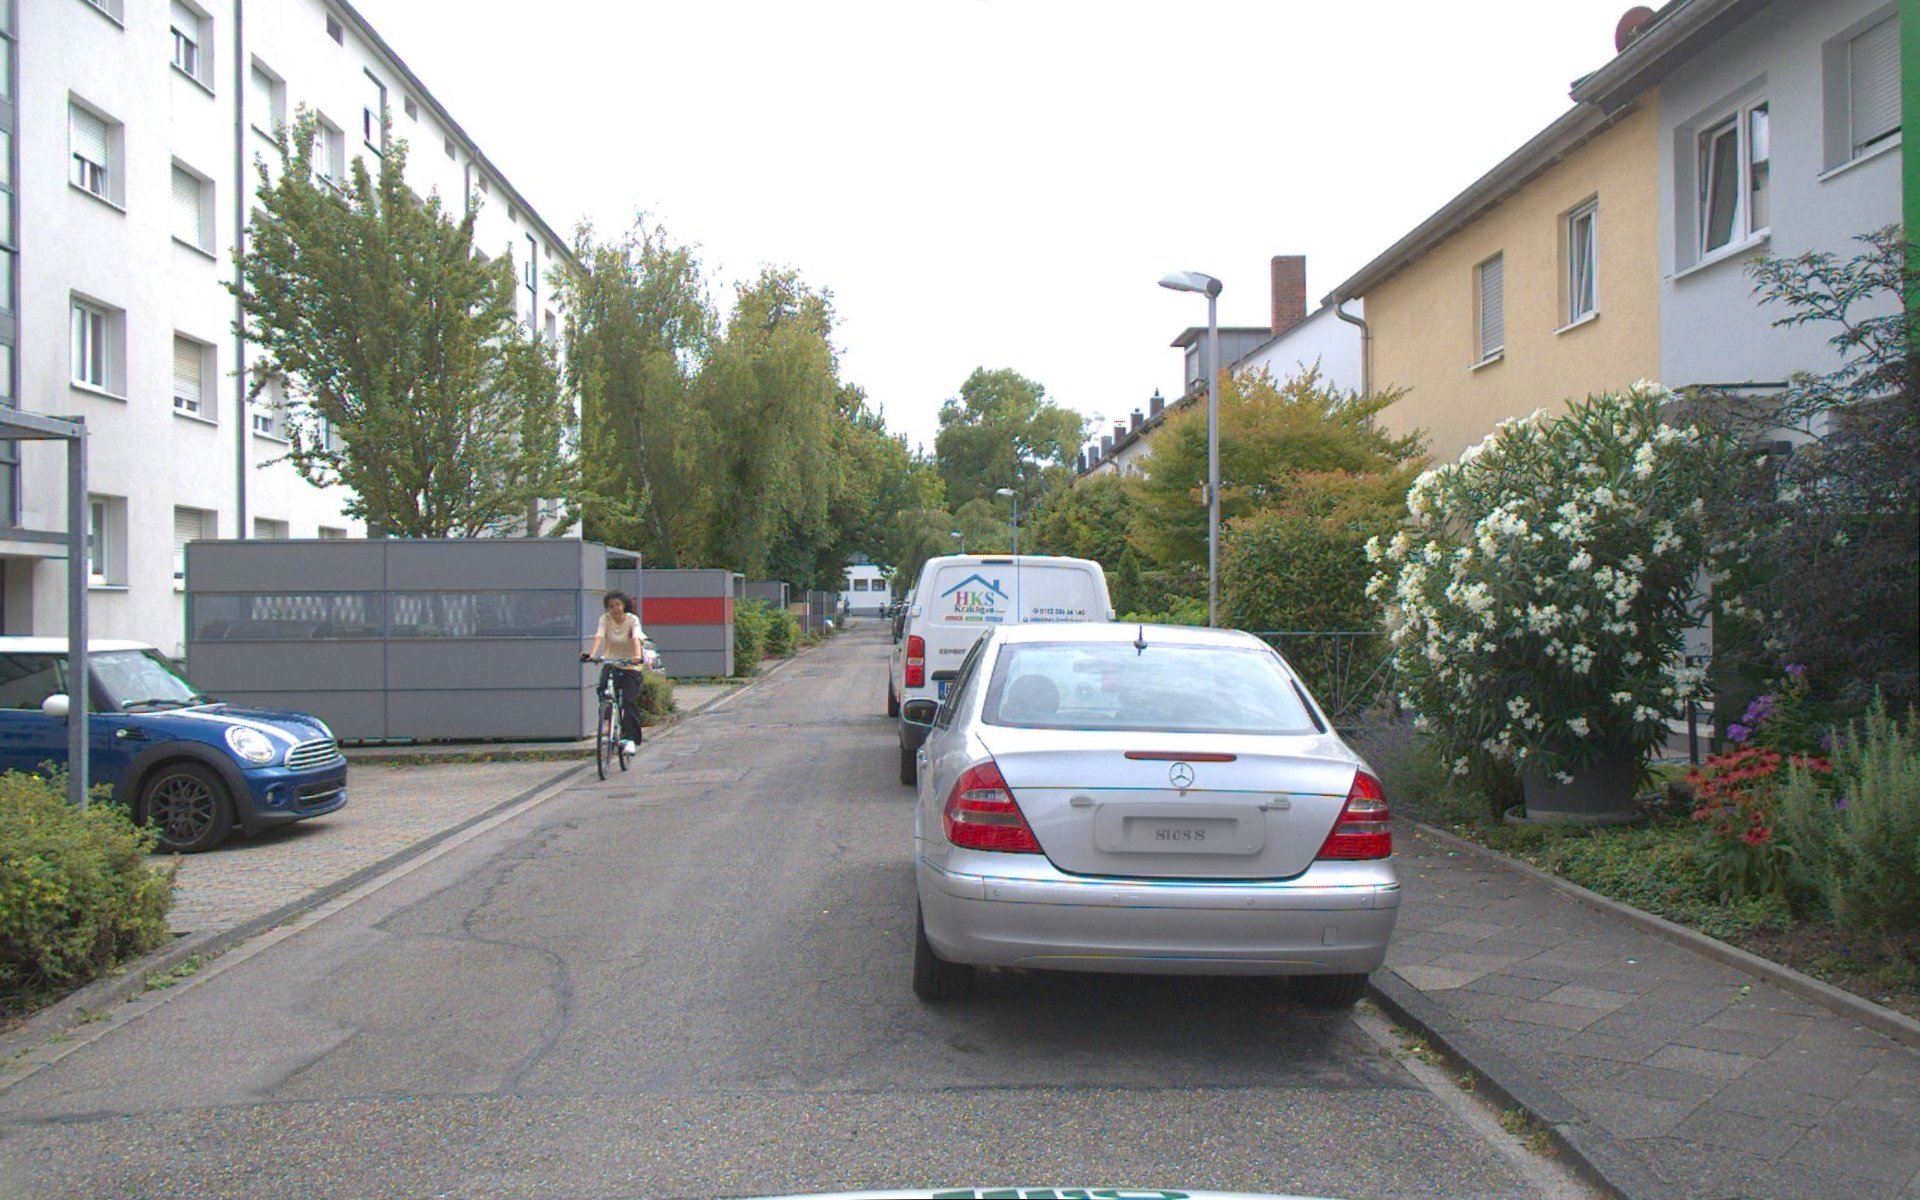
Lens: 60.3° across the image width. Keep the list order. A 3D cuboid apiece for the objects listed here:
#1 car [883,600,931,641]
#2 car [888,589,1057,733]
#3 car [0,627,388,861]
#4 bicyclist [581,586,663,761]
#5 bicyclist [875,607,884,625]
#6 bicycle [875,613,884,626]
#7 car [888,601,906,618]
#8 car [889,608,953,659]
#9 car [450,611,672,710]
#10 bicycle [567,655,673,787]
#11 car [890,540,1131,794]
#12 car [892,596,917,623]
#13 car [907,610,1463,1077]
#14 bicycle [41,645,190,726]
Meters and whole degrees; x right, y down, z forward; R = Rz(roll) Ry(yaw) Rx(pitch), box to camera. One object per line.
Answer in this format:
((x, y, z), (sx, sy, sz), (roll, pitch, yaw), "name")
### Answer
((-2.186, 0.823, 67.705), (1.789, 1.609, 3.997), (1, 0, -4), "car")
((0.062, 0.727, 21.464), (1.789, 1.664, 4.157), (1, 0, -5), "car")
((-6.200, 0.999, 11.885), (3.560, 1.487, 1.653), (-2, 0, 1), "car")
((-3.221, 0.690, 15.799), (0.585, 1.608, 0.767), (-2, 0, -1), "bicyclist")
((-7.134, 1.405, 146.562), (0.782, 1.537, 0.934), (1, -1, 0), "bicyclist")
((-7.136, 1.730, 146.538), (0.675, 1.151, 2.579), (1, 0, 0), "bicycle")
((-6.259, 0.967, 165.217), (1.788, 1.609, 3.998), (1, 0, -2), "car")
((-1.168, 0.964, 49.098), (1.788, 1.394, 4.329), (1, 0, -2), "car")
((-6.841, 1.015, 28.639), (3.494, 1.506, 1.708), (-2, 0, -7), "car")
((-3.208, 1.109, 15.755), (0.585, 1.095, 2.042), (-2, 0, -1), "bicycle")
((0.294, 0.545, 15.756), (1.866, 1.999, 5.250), (1, 0, -3), "car")
((-4.188, 0.708, 124.326), (1.788, 1.916, 3.998), (1, 0, -2), "car")
((0.684, 0.784, 7.441), (1.747, 1.445, 4.454), (1, 0, -1), "car")
((-11.753, 1.171, 23.065), (1.796, 1.042, 0.471), (-1, 0, -44), "bicycle")
